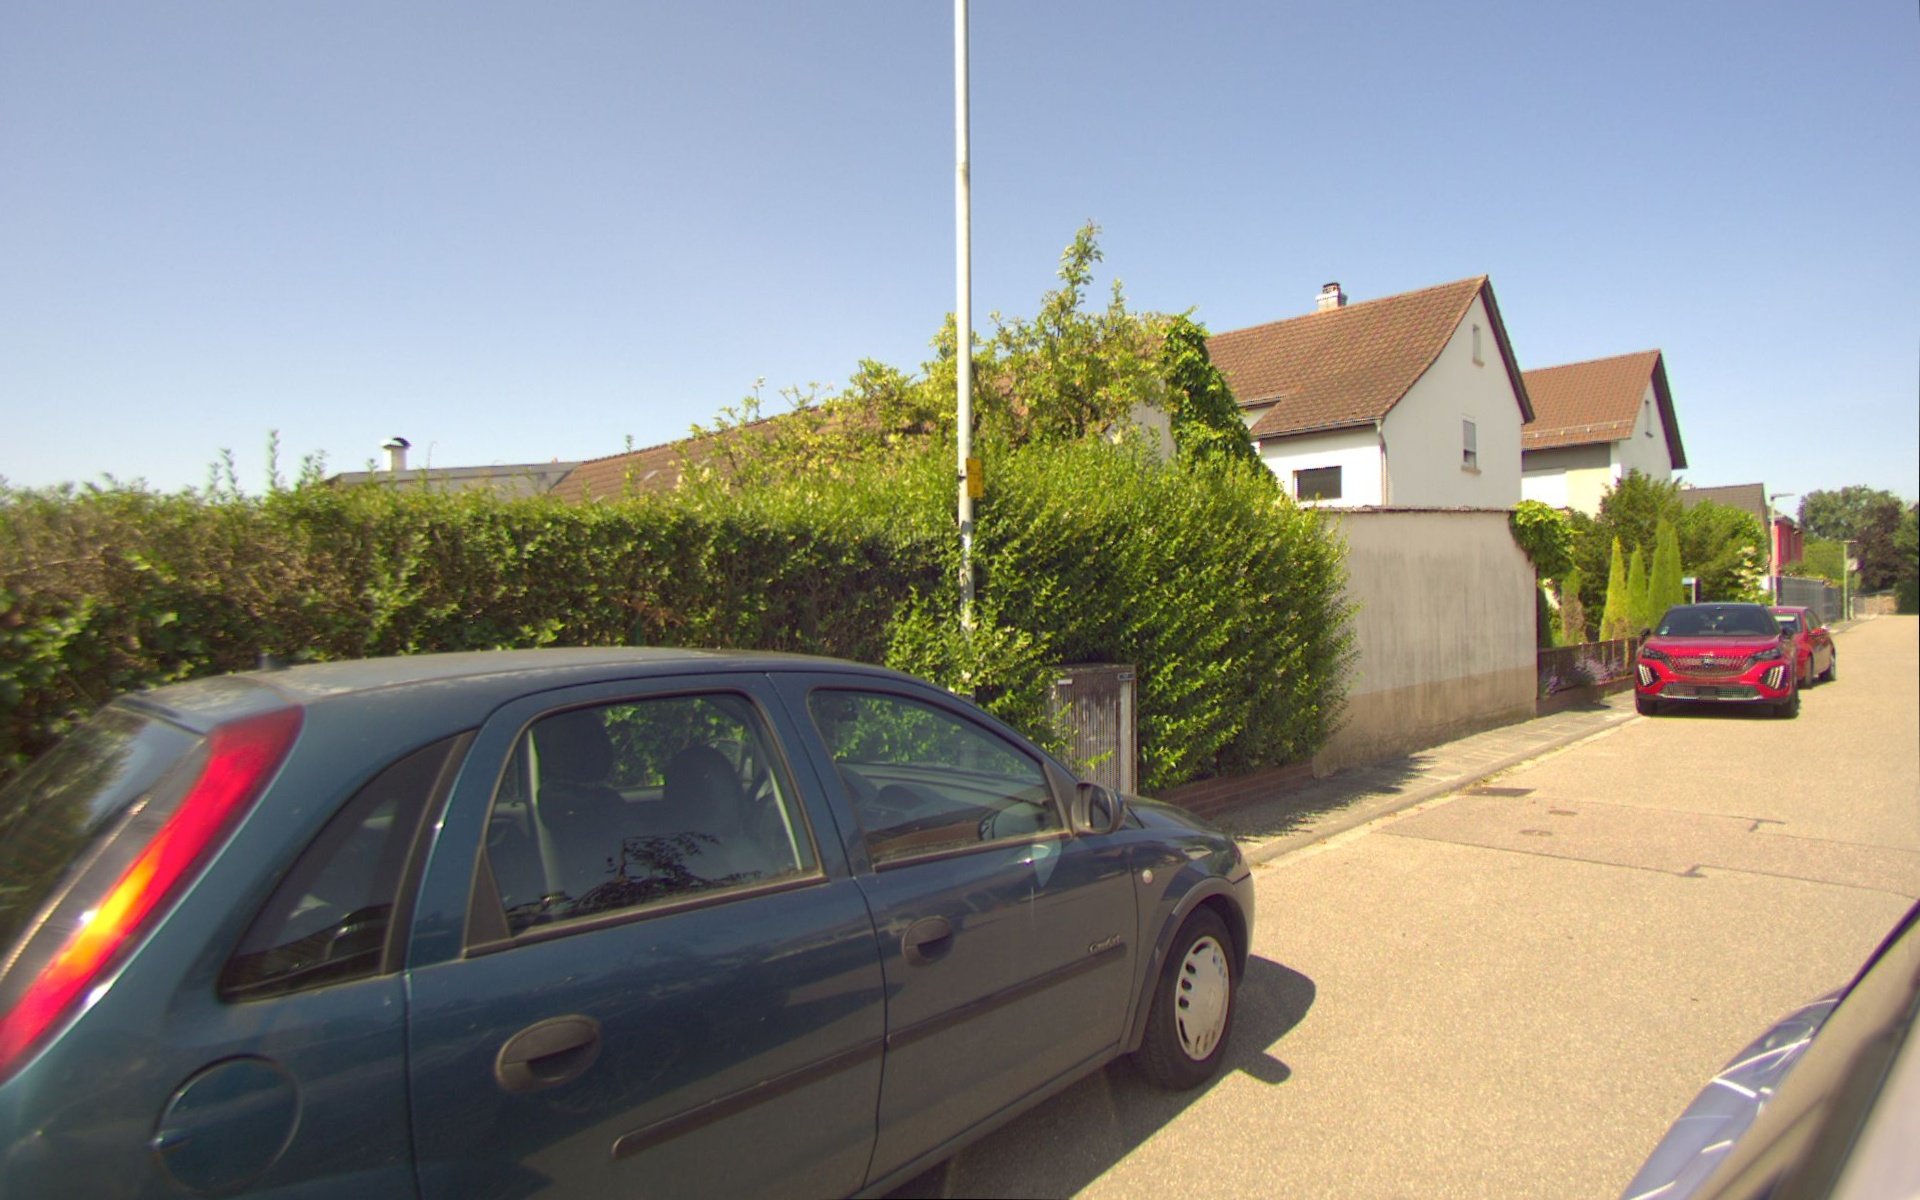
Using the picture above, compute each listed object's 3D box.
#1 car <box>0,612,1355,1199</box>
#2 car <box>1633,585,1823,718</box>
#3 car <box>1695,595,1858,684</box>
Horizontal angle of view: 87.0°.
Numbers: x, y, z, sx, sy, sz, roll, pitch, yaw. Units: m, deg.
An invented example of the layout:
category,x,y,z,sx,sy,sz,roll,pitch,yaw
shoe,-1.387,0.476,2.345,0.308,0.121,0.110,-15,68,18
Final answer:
category,x,y,z,sx,sy,sz,roll,pitch,yaw
car,-0.481,0.791,2.989,1.702,1.417,3.937,-2,-1,43
car,11.158,0.647,14.601,1.821,1.636,3.939,-2,-1,42
car,15.651,0.710,19.336,3.932,1.498,1.777,-1,-2,-42
